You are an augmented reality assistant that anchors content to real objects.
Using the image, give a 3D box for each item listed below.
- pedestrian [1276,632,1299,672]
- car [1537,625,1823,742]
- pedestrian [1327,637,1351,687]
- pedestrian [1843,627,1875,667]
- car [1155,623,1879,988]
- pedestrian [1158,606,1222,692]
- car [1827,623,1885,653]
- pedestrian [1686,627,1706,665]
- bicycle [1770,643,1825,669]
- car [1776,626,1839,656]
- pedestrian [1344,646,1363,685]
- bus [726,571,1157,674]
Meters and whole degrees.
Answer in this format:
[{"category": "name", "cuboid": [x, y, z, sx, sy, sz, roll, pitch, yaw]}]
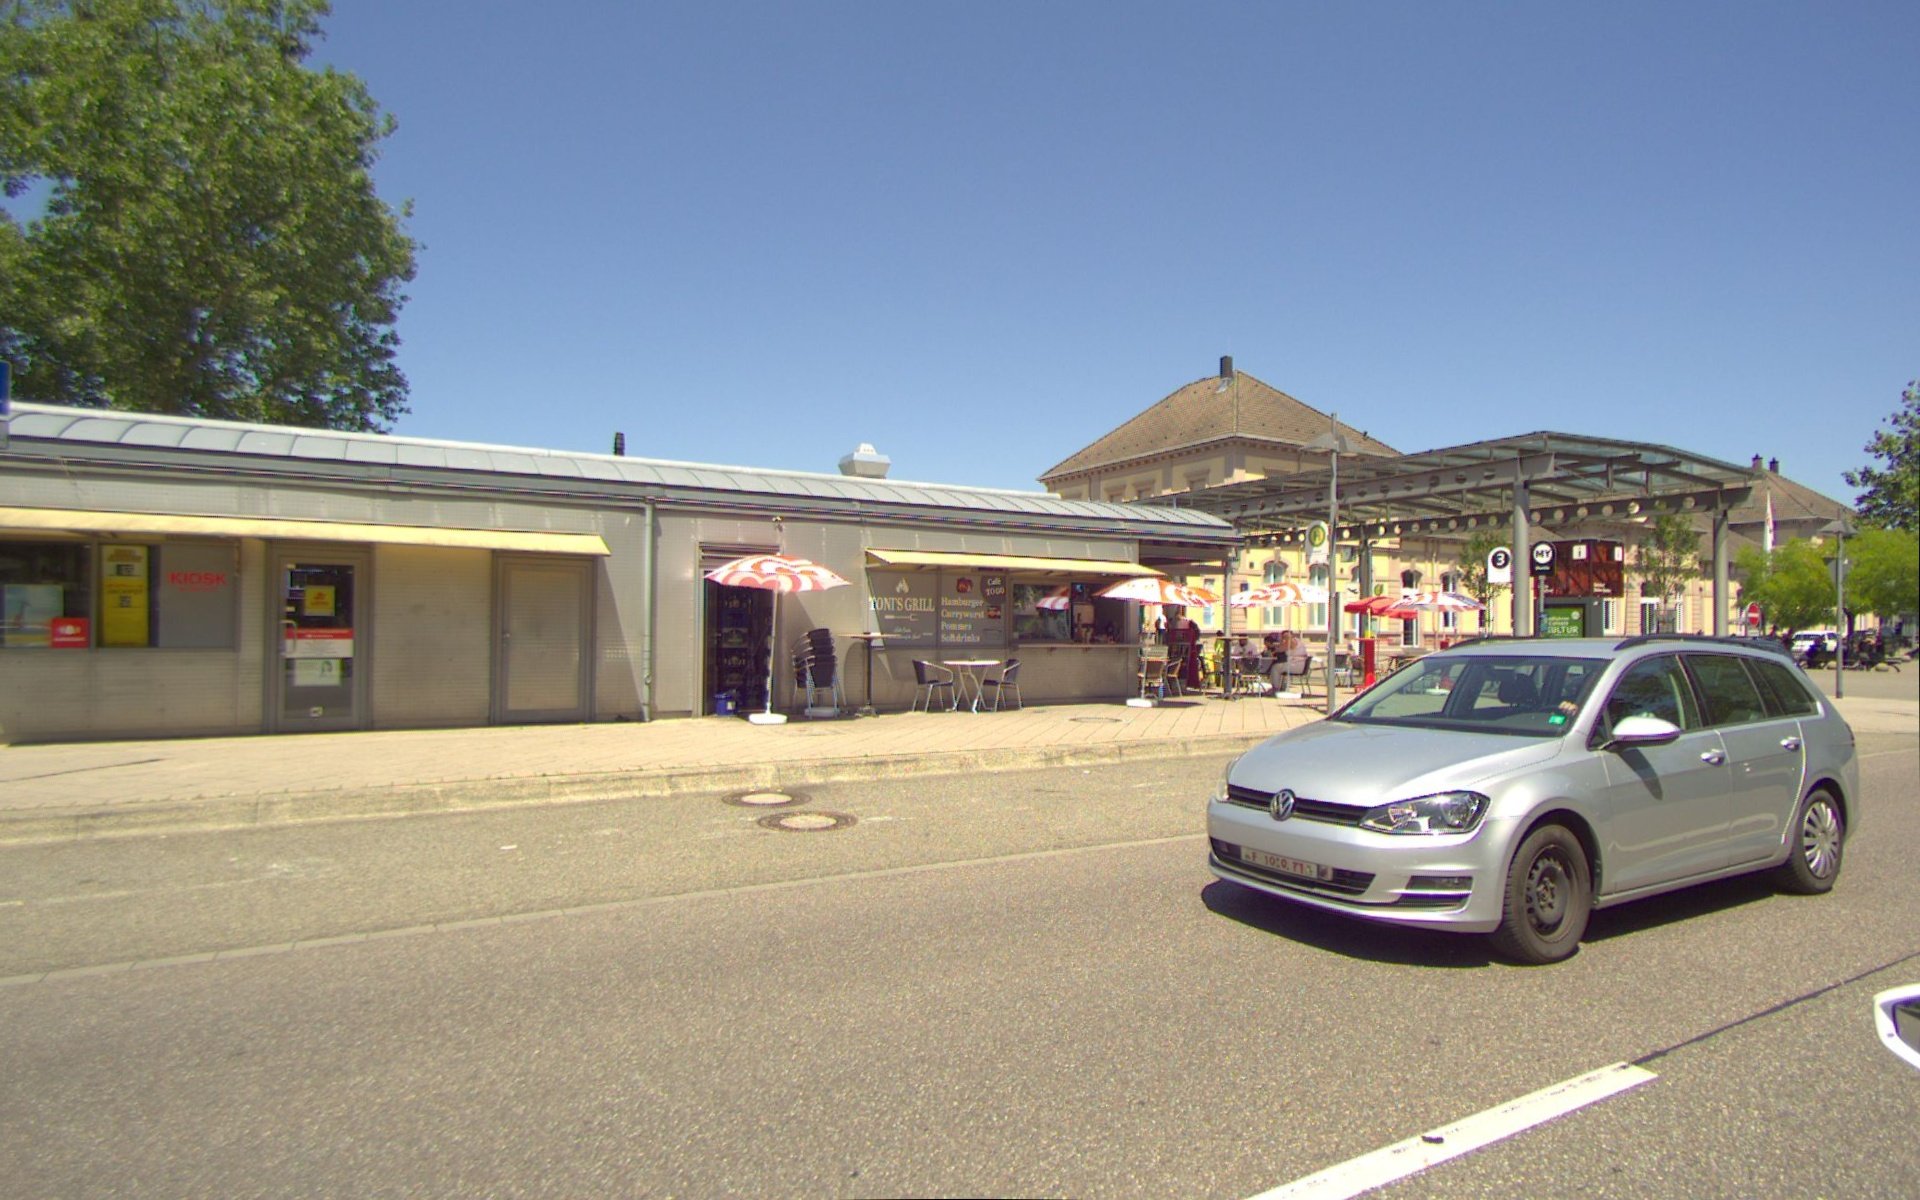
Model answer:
[{"category": "pedestrian", "cuboid": [8.215, 1.290, 25.184, 0.366, 0.985, 0.424, 3, -2, -16]}, {"category": "car", "cuboid": [10.744, 1.158, 14.897, 4.731, 1.498, 1.710, 2, -2, -31]}, {"category": "pedestrian", "cuboid": [8.682, 1.420, 23.001, 0.417, 1.137, 0.372, 1, -2, 5]}, {"category": "pedestrian", "cuboid": [38.815, 2.036, 43.360, 0.708, 1.680, 0.761, 2, -3, -12]}, {"category": "car", "cuboid": [3.329, 0.889, 5.879, 4.107, 1.463, 1.807, 1, -2, -29]}, {"category": "pedestrian", "cuboid": [5.139, 1.105, 22.490, 1.122, 1.851, 0.800, 2, -2, -12]}, {"category": "car", "cuboid": [63.410, 2.660, 71.070, 3.954, 2.040, 1.984, 1, -2, -31]}, {"category": "pedestrian", "cuboid": [34.214, 2.146, 46.712, 0.574, 1.732, 0.588, 1, -2, 15]}, {"category": "bicycle", "cuboid": [35.808, 2.378, 42.961, 1.770, 1.044, 0.487, 0, -1, 38]}, {"category": "car", "cuboid": [57.193, 2.722, 67.751, 4.718, 1.943, 1.743, 1, -1, -30]}, {"category": "pedestrian", "cuboid": [9.713, 1.621, 24.803, 0.365, 0.935, 0.425, 1, -3, 32]}, {"category": "bus", "cuboid": [-0.132, 0.819, 34.795, 15.320, 3.077, 2.857, 1, -2, -28]}]
